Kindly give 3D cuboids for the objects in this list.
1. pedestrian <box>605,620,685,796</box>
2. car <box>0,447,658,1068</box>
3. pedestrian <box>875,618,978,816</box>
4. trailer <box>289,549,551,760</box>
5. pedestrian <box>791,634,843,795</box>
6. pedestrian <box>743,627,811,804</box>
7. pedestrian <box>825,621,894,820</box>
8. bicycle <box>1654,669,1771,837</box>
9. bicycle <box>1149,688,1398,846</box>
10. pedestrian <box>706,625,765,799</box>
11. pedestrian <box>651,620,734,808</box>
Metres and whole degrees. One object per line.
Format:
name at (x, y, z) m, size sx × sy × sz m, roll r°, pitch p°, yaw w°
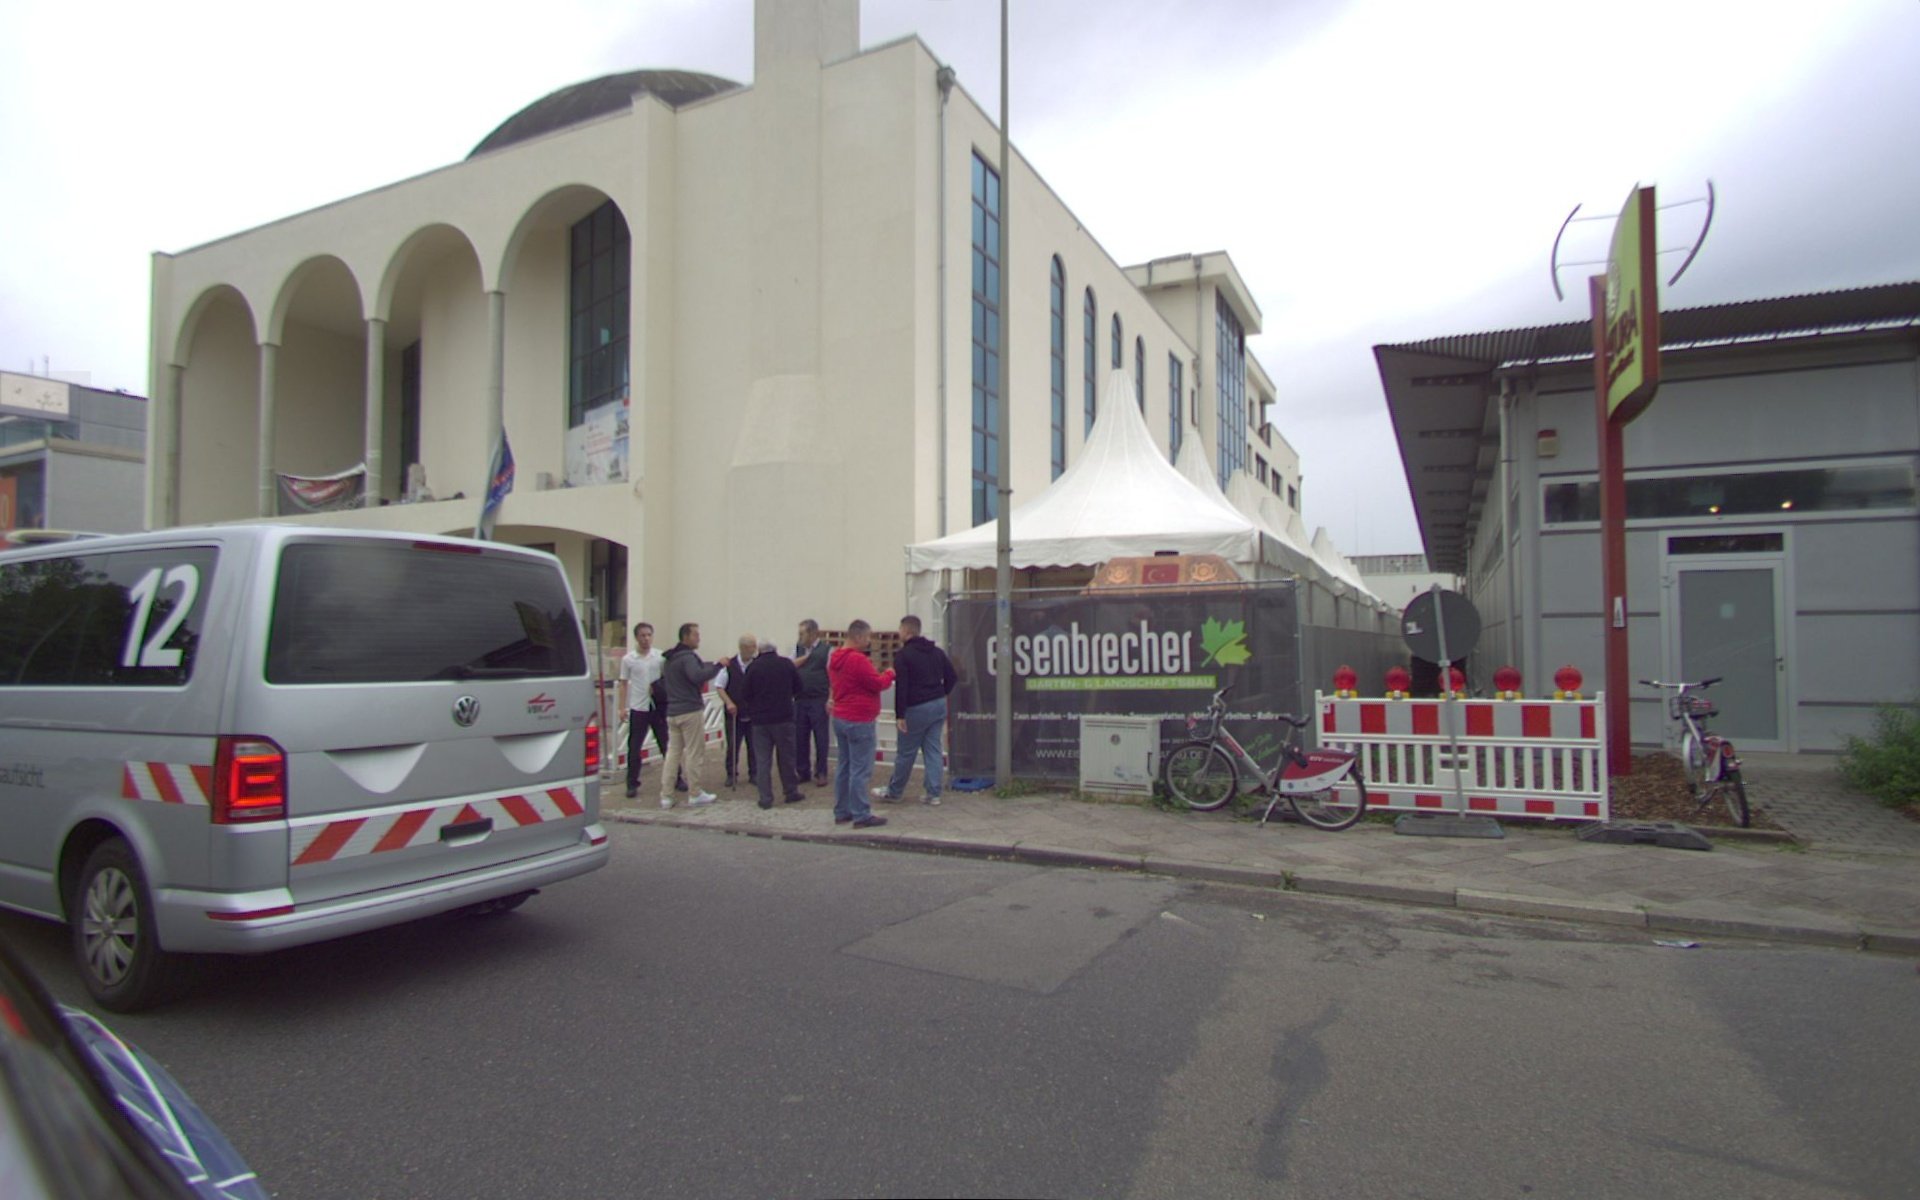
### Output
pedestrian at (-3.230, 1.093, 10.420) m, size 0.681 × 1.763 × 0.491 m, roll 0°, pitch -3°, yaw -4°
car at (-4.137, 0.566, 5.318) m, size 4.930 × 2.029 × 1.915 m, roll -1°, pitch -3°, yaw 27°
pedestrian at (-0.326, 1.060, 9.491) m, size 0.684 × 1.730 × 0.689 m, roll -3°, pitch -1°, yaw -20°
trailer at (-7.562, 0.750, 14.182) m, size 3.177 × 2.627 × 1.786 m, roll -2°, pitch -3°, yaw 29°
pedestrian at (-1.493, 1.176, 10.621) m, size 0.484 × 1.624 × 0.541 m, roll 0°, pitch -1°, yaw -2°
pedestrian at (-1.755, 1.076, 9.660) m, size 0.561 × 1.624 × 0.492 m, roll 1°, pitch -3°, yaw -18°
pedestrian at (-0.842, 1.005, 8.582) m, size 0.533 × 1.624 × 0.491 m, roll 1°, pitch -4°, yaw -2°
bicycle at (6.051, 1.171, 8.201) m, size 0.390 × 1.054 × 1.652 m, roll -1°, pitch 2°, yaw 24°
bicycle at (2.554, 1.322, 8.363) m, size 1.895 × 1.086 × 0.539 m, roll -1°, pitch -2°, yaw 33°
pedestrian at (-2.332, 1.146, 10.545) m, size 0.520 × 1.763 × 0.491 m, roll 0°, pitch -3°, yaw -4°
pedestrian at (-2.578, 1.083, 9.808) m, size 0.681 × 1.763 × 0.491 m, roll 0°, pitch -3°, yaw -4°
